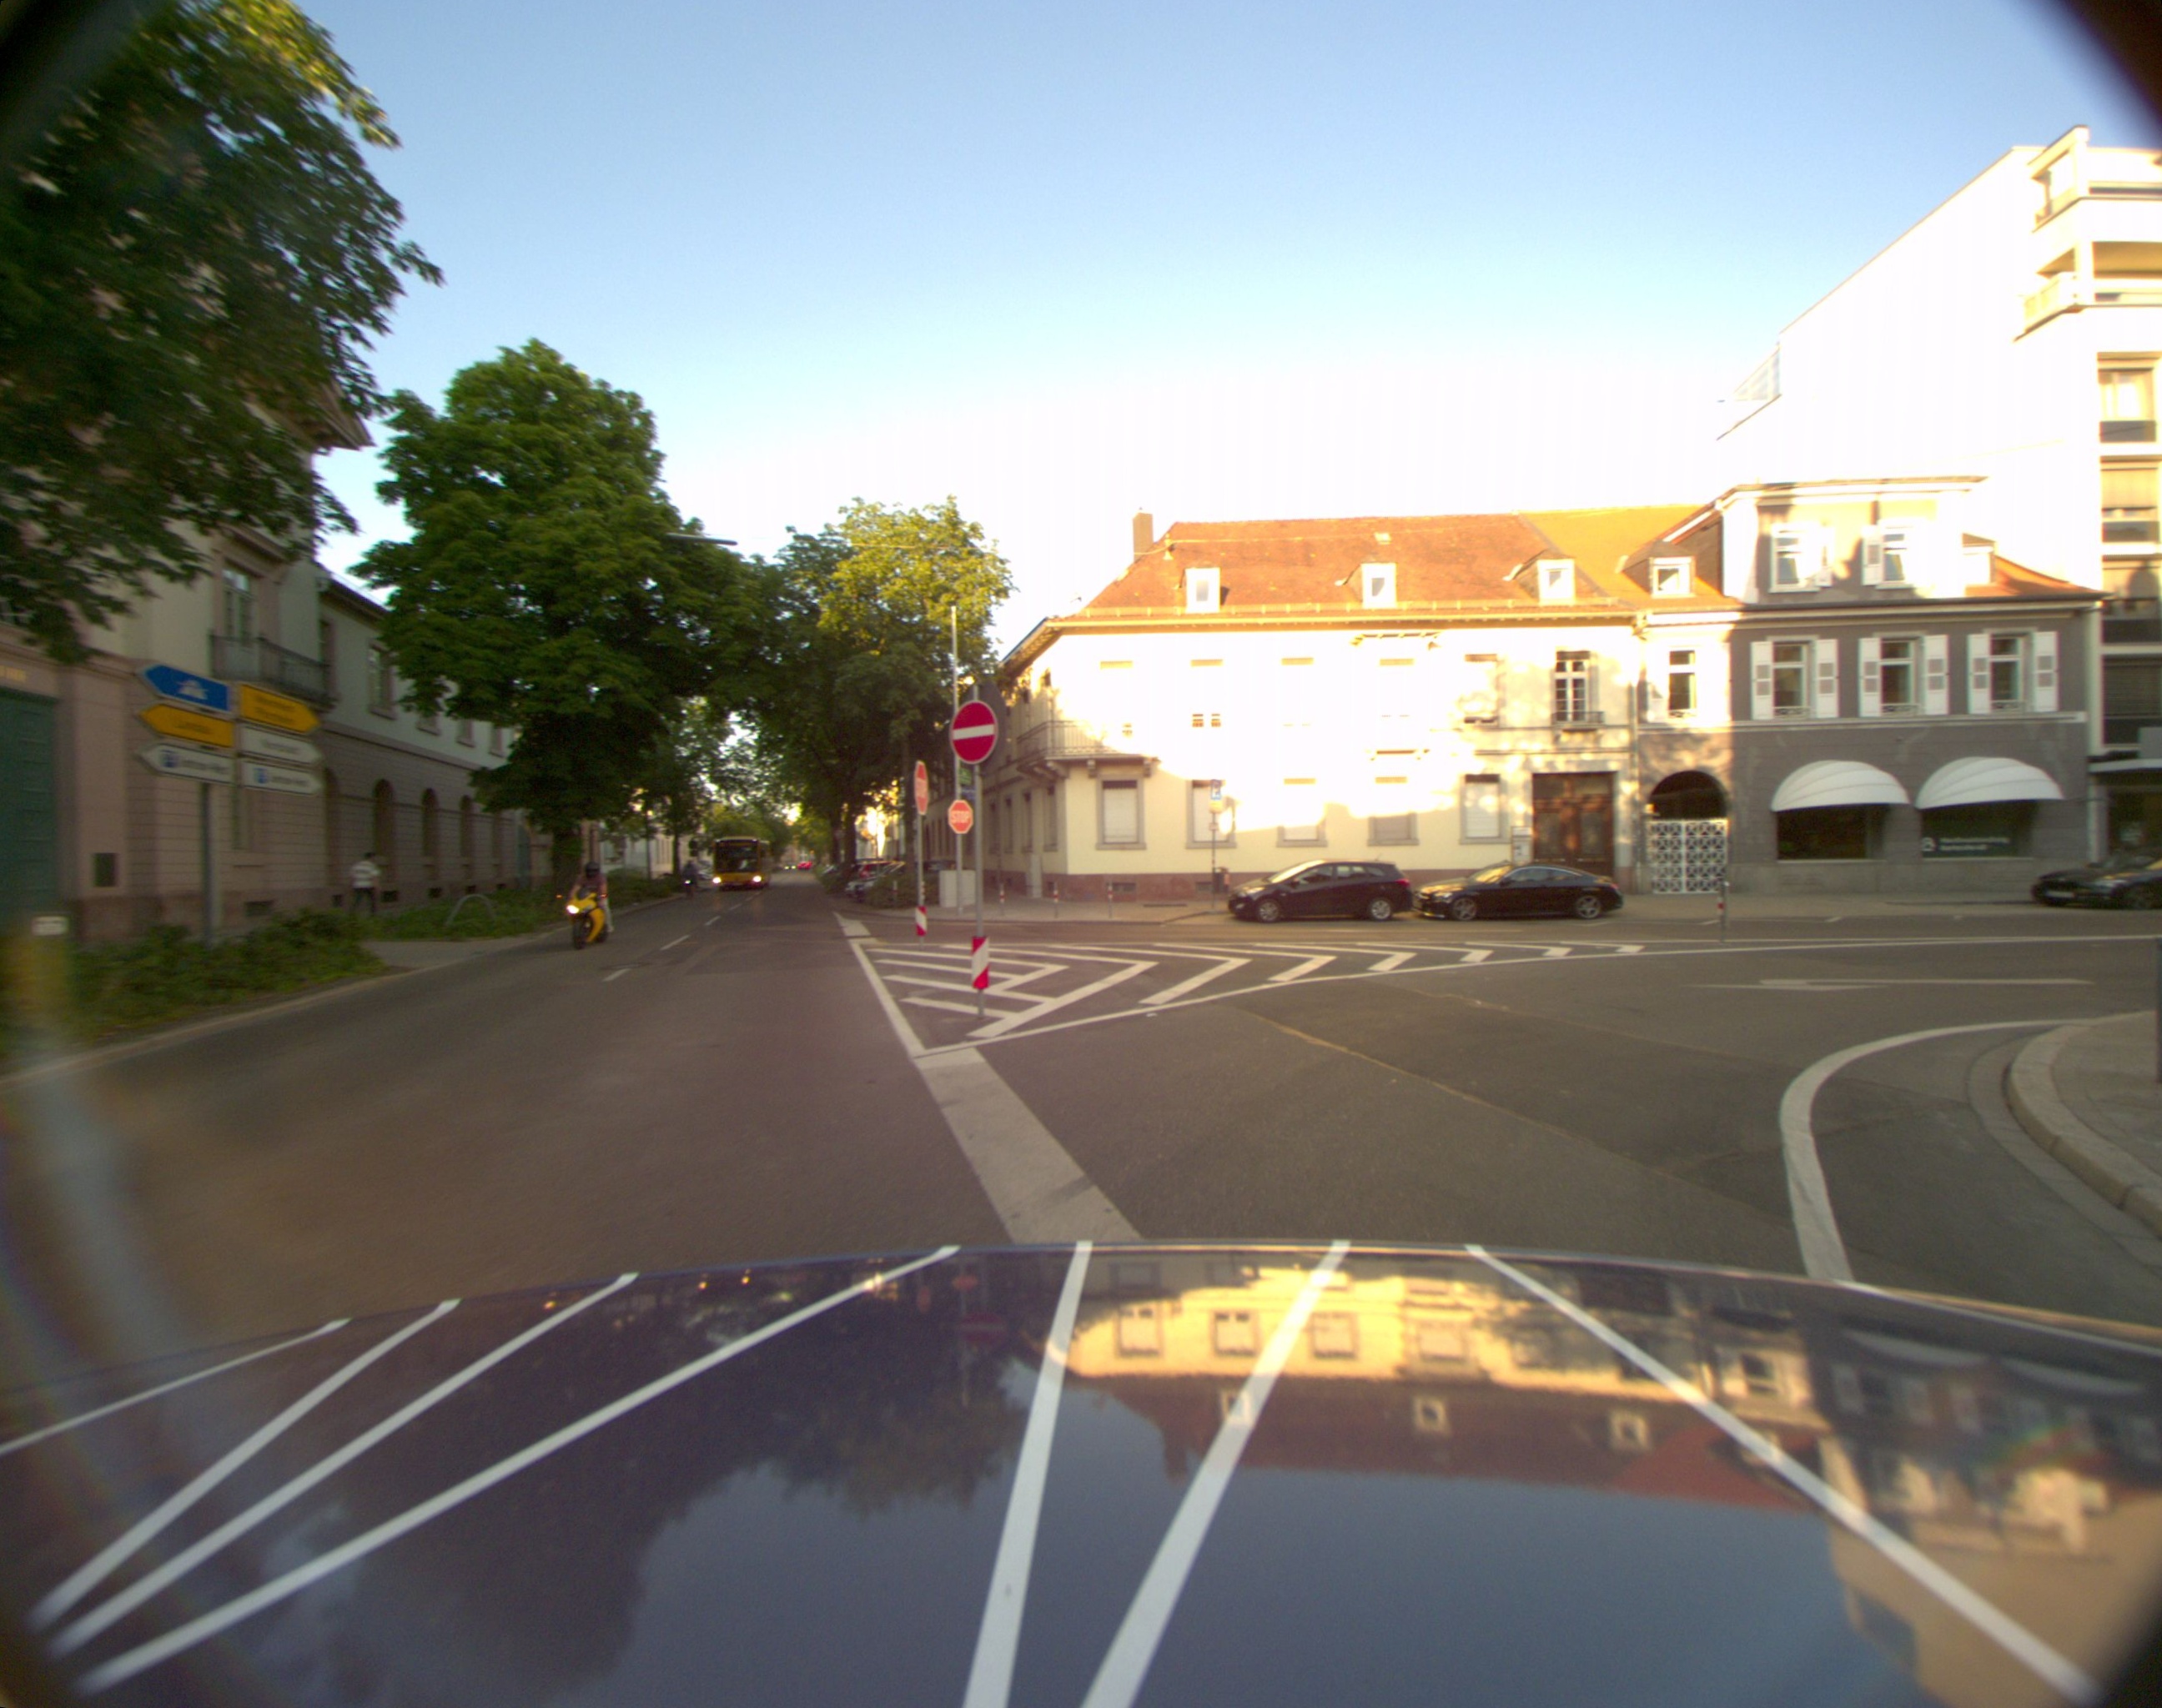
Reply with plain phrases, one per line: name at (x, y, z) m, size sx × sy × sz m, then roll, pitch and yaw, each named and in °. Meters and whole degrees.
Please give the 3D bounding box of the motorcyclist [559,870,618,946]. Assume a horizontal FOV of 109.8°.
motorcyclist at (-9.669, 1.037, 14.936) m, size 0.794 × 1.412 × 0.697 m, roll -3°, pitch 1°, yaw -23°

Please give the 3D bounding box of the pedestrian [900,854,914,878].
pedestrian at (-13.059, 0.890, 56.971) m, size 0.896 × 1.760 × 1.019 m, roll -1°, pitch 1°, yaw -21°

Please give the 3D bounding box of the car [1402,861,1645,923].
car at (10.708, 0.905, 18.672) m, size 4.852 × 1.386 × 1.779 m, roll -1°, pitch 0°, yaw 4°

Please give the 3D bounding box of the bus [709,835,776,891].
bus at (-21.048, 0.487, 47.857) m, size 2.715 × 2.983 × 12.061 m, roll -3°, pitch 1°, yaw -19°

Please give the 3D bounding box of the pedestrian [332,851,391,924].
pedestrian at (-18.633, 0.837, 19.698) m, size 0.802 × 1.821 × 0.928 m, roll -1°, pitch 1°, yaw -22°

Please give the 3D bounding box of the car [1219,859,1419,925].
car at (5.811, 0.914, 18.970) m, size 4.426 × 1.532 × 1.808 m, roll -1°, pitch 0°, yaw 3°

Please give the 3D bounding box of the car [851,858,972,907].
car at (-6.171, 0.994, 27.619) m, size 4.004 × 1.606 × 1.825 m, roll -1°, pitch 0°, yaw -22°

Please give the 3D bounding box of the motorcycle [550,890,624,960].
motorcycle at (-9.648, 1.341, 14.917) m, size 0.794 × 1.154 × 1.963 m, roll -3°, pitch 1°, yaw -22°

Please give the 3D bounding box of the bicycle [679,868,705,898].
bicycle at (-18.346, 1.357, 35.857) m, size 0.784 × 1.322 × 2.074 m, roll -3°, pitch 1°, yaw -20°

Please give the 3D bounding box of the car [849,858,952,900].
car at (-7.666, 1.009, 32.204) m, size 4.004 × 1.606 × 1.720 m, roll -1°, pitch 0°, yaw -22°

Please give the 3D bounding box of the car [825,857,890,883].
car at (-14.944, 1.051, 50.818) m, size 4.004 × 1.606 × 1.720 m, roll -1°, pitch 0°, yaw -22°

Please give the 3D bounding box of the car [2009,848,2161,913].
car at (25.238, 0.588, 17.966) m, size 4.245 × 1.438 × 1.748 m, roll -1°, pitch 0°, yaw 4°

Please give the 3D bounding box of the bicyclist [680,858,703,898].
bicyclist at (-18.343, 1.127, 35.810) m, size 0.784 × 1.829 × 0.825 m, roll -3°, pitch 1°, yaw -20°

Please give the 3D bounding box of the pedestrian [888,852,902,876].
pedestrian at (-13.874, 0.742, 56.663) m, size 0.808 × 1.760 × 1.019 m, roll -1°, pitch 1°, yaw -21°

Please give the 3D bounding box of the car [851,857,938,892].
car at (-9.323, 1.008, 37.945) m, size 4.004 × 1.606 × 1.720 m, roll -1°, pitch 0°, yaw -22°

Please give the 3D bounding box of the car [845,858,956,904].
car at (-7.103, 1.011, 29.829) m, size 4.004 × 1.606 × 1.720 m, roll -1°, pitch 0°, yaw -22°
